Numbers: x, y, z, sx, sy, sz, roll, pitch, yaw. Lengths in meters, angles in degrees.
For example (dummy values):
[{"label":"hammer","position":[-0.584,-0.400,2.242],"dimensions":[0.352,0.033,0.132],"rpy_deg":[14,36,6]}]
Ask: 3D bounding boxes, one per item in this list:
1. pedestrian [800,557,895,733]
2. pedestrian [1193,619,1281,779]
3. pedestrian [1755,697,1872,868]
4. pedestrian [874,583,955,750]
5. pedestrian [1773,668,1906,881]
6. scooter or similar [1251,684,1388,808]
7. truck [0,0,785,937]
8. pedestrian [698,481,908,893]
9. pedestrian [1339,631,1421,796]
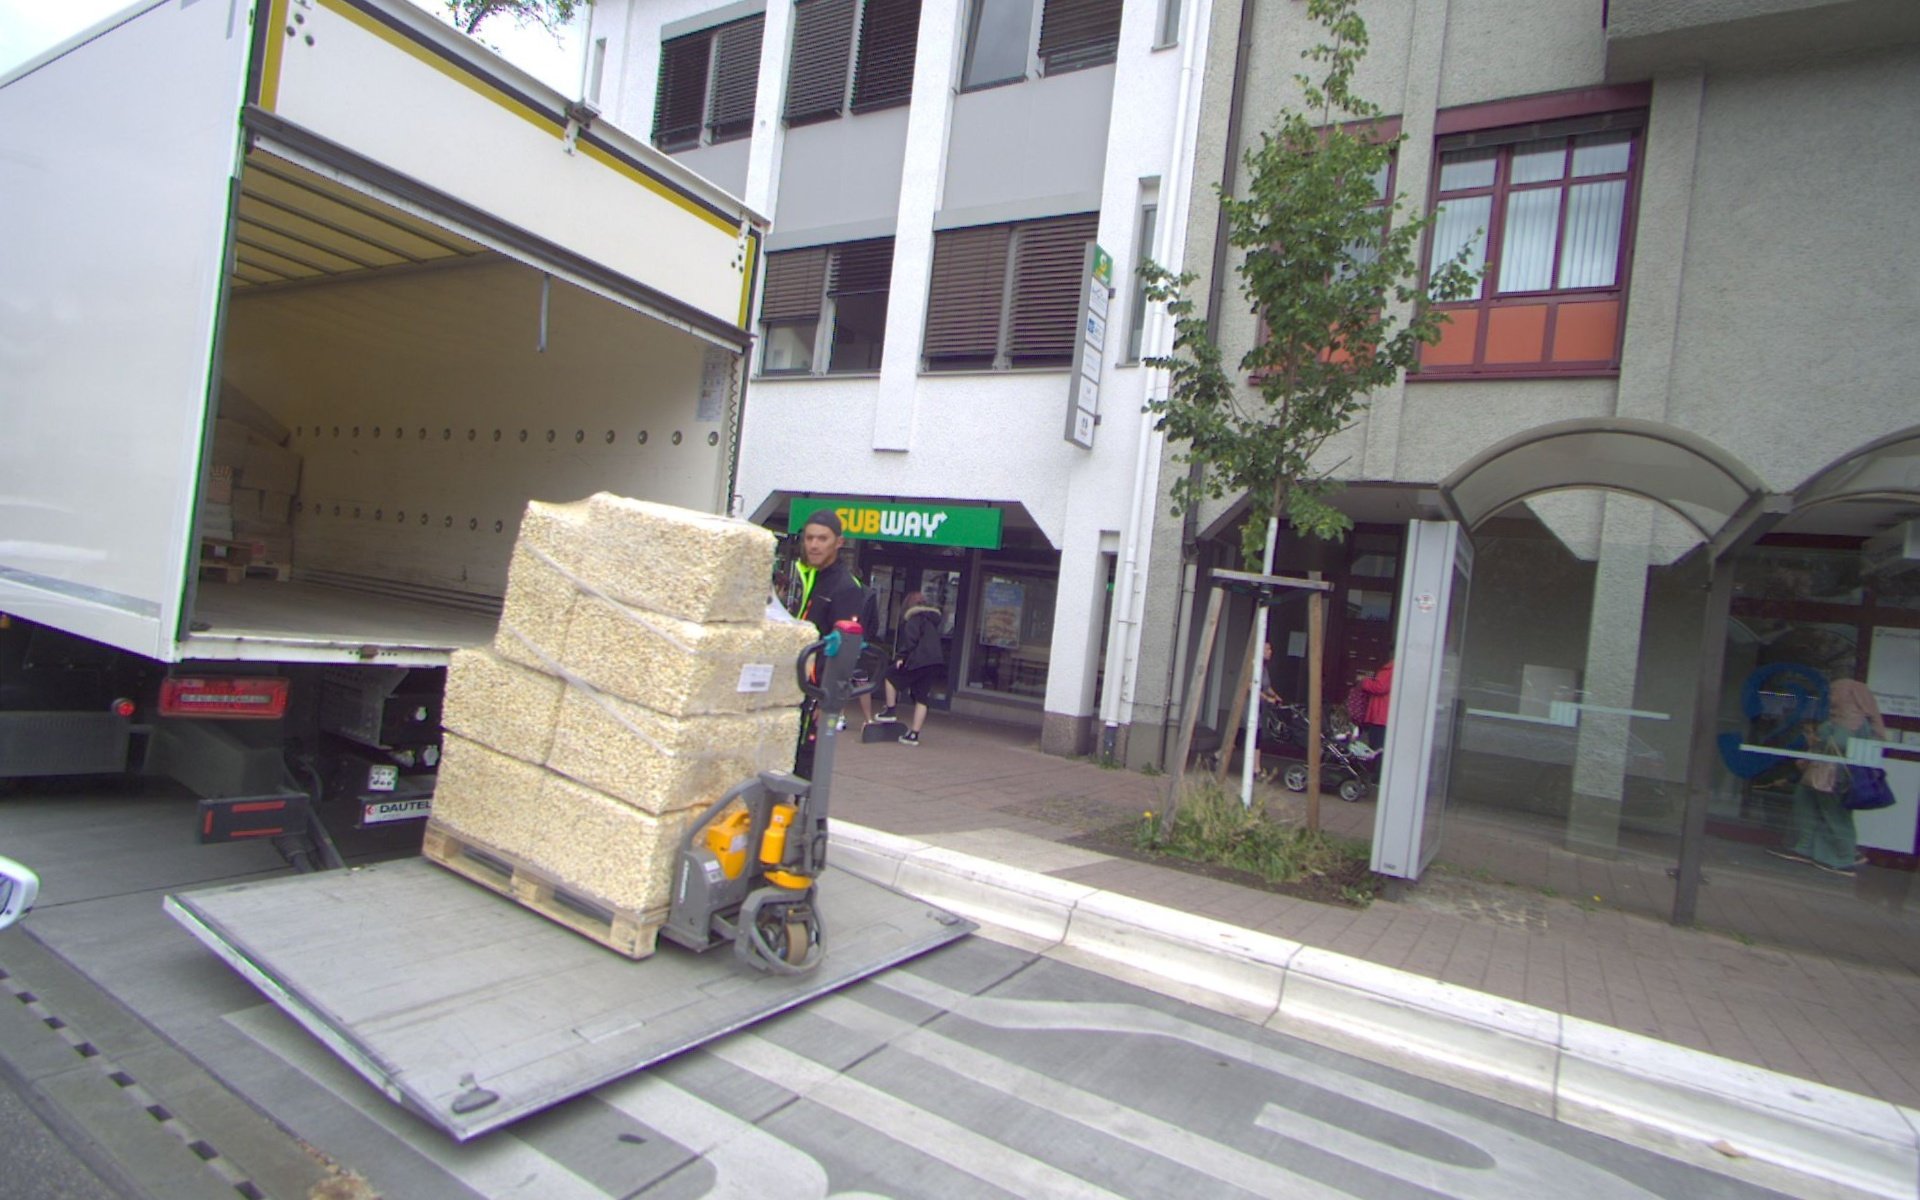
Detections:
[{"label":"pedestrian","position":[-1.239,0.494,11.201],"dimensions":[0.752,1.842,0.615],"rpy_deg":[6,0,8]},{"label":"pedestrian","position":[2.916,1.028,10.560],"dimensions":[0.604,1.544,0.727],"rpy_deg":[7,0,25]},{"label":"pedestrian","position":[7.698,1.623,9.099],"dimensions":[0.605,1.392,0.586],"rpy_deg":[7,0,34]},{"label":"pedestrian","position":[-0.478,0.671,10.362],"dimensions":[0.578,1.631,0.613],"rpy_deg":[6,0,-13]},{"label":"pedestrian","position":[7.433,1.448,8.533],"dimensions":[0.605,1.654,0.587],"rpy_deg":[7,0,33]},{"label":"scooter or similar","position":[3.566,1.422,9.987],"dimensions":[1.116,1.012,0.429],"rpy_deg":[7,0,31]},{"label":"truck","position":[-5.931,-1.050,6.977],"dimensions":[9.604,3.604,2.692],"rpy_deg":[7,0,32]},{"label":"pedestrian","position":[-0.737,0.386,4.819],"dimensions":[0.578,1.802,0.614],"rpy_deg":[6,0,28]},{"label":"pedestrian","position":[4.533,1.206,10.870],"dimensions":[0.604,1.654,0.727],"rpy_deg":[7,0,23]}]
